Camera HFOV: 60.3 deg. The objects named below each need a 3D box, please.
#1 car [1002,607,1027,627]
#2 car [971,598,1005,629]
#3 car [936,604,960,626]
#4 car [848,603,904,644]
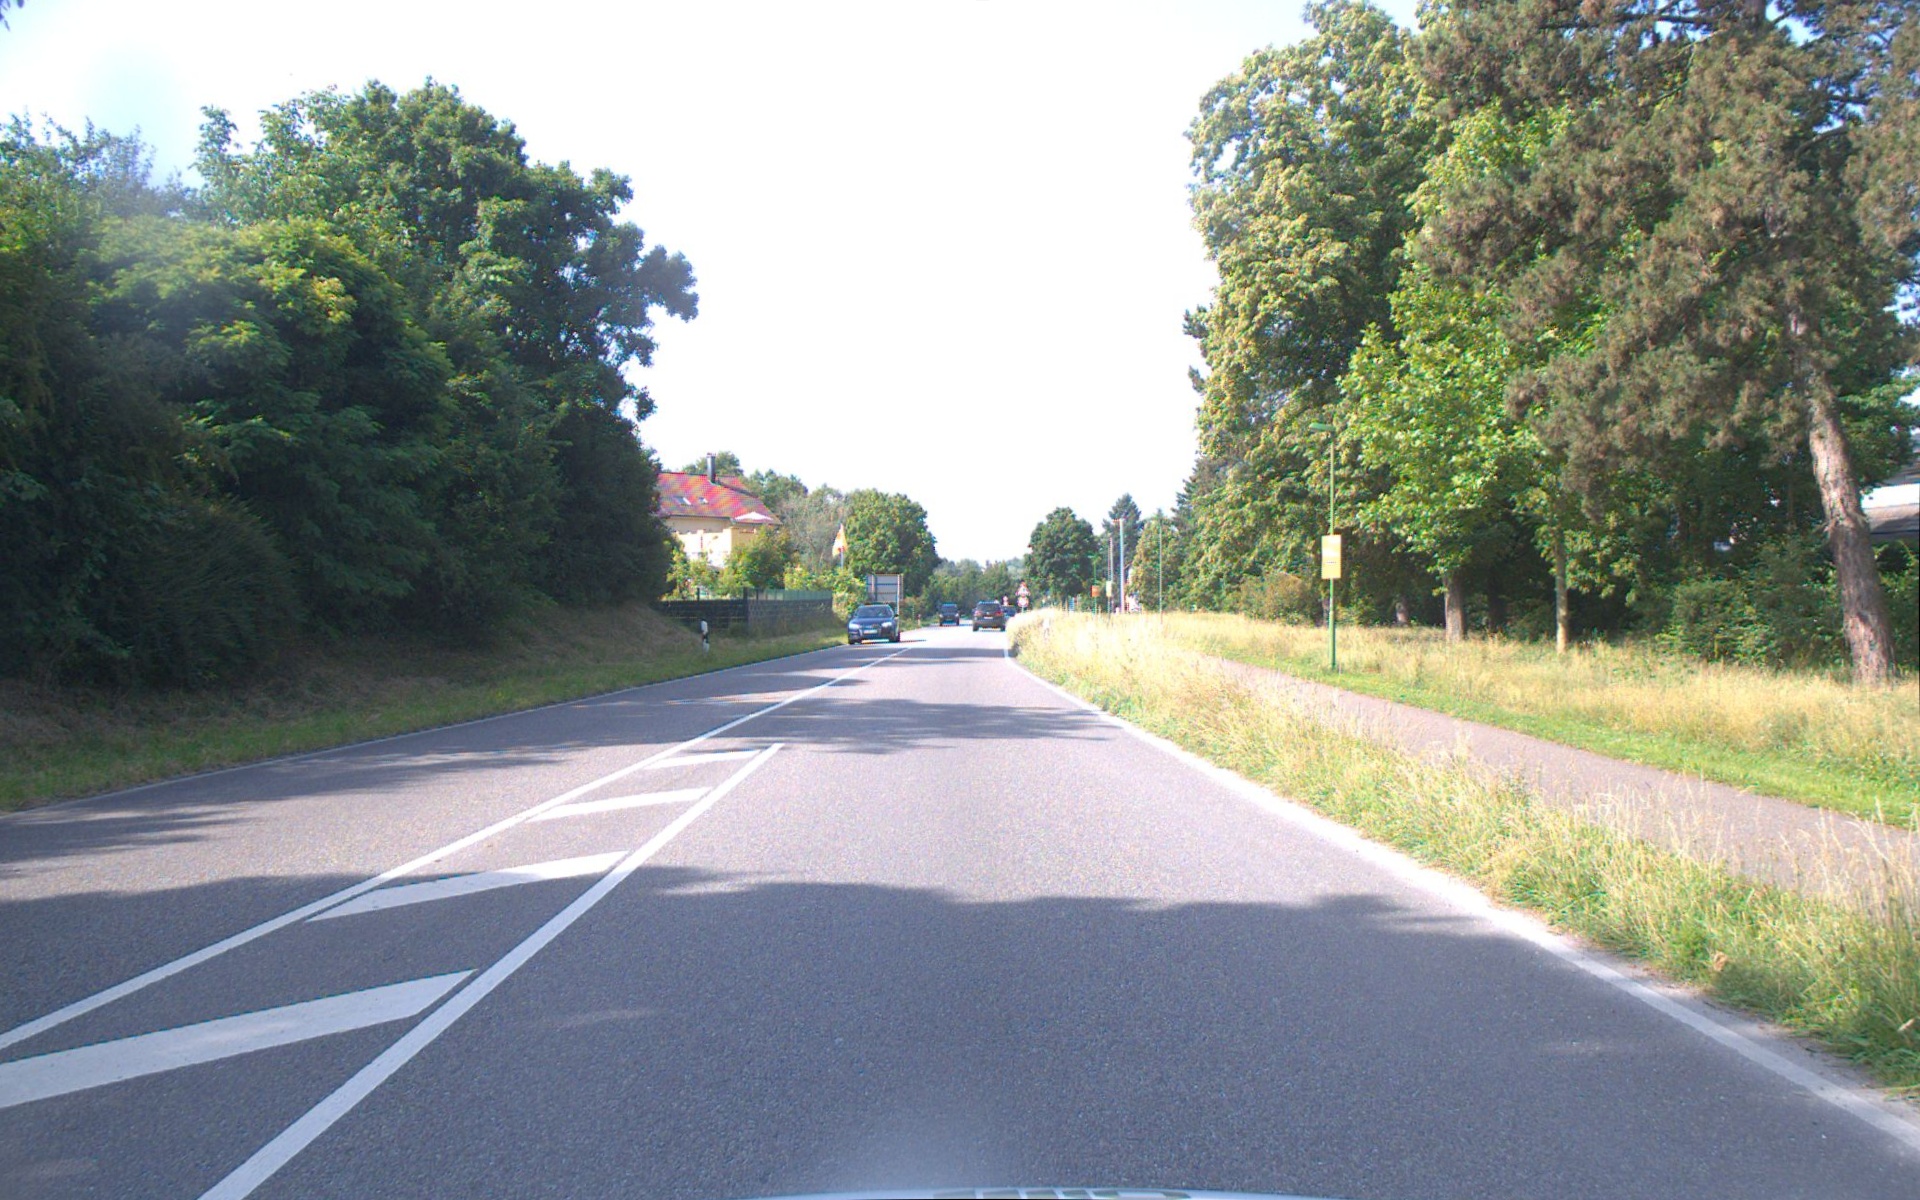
[{"bbox_3d":[4.300,1.324,130.633,1.701,1.542,3.912,0,0,-2],"label":"car"},{"bbox_3d":[1.627,0.783,97.693,1.886,1.802,3.999,0,0,-1],"label":"car"},{"bbox_3d":[-1.057,1.277,143.737,1.899,1.849,4.242,-2,0,1],"label":"car"},{"bbox_3d":[-3.186,0.889,63.824,1.832,1.448,4.577,-2,0,0],"label":"car"}]
